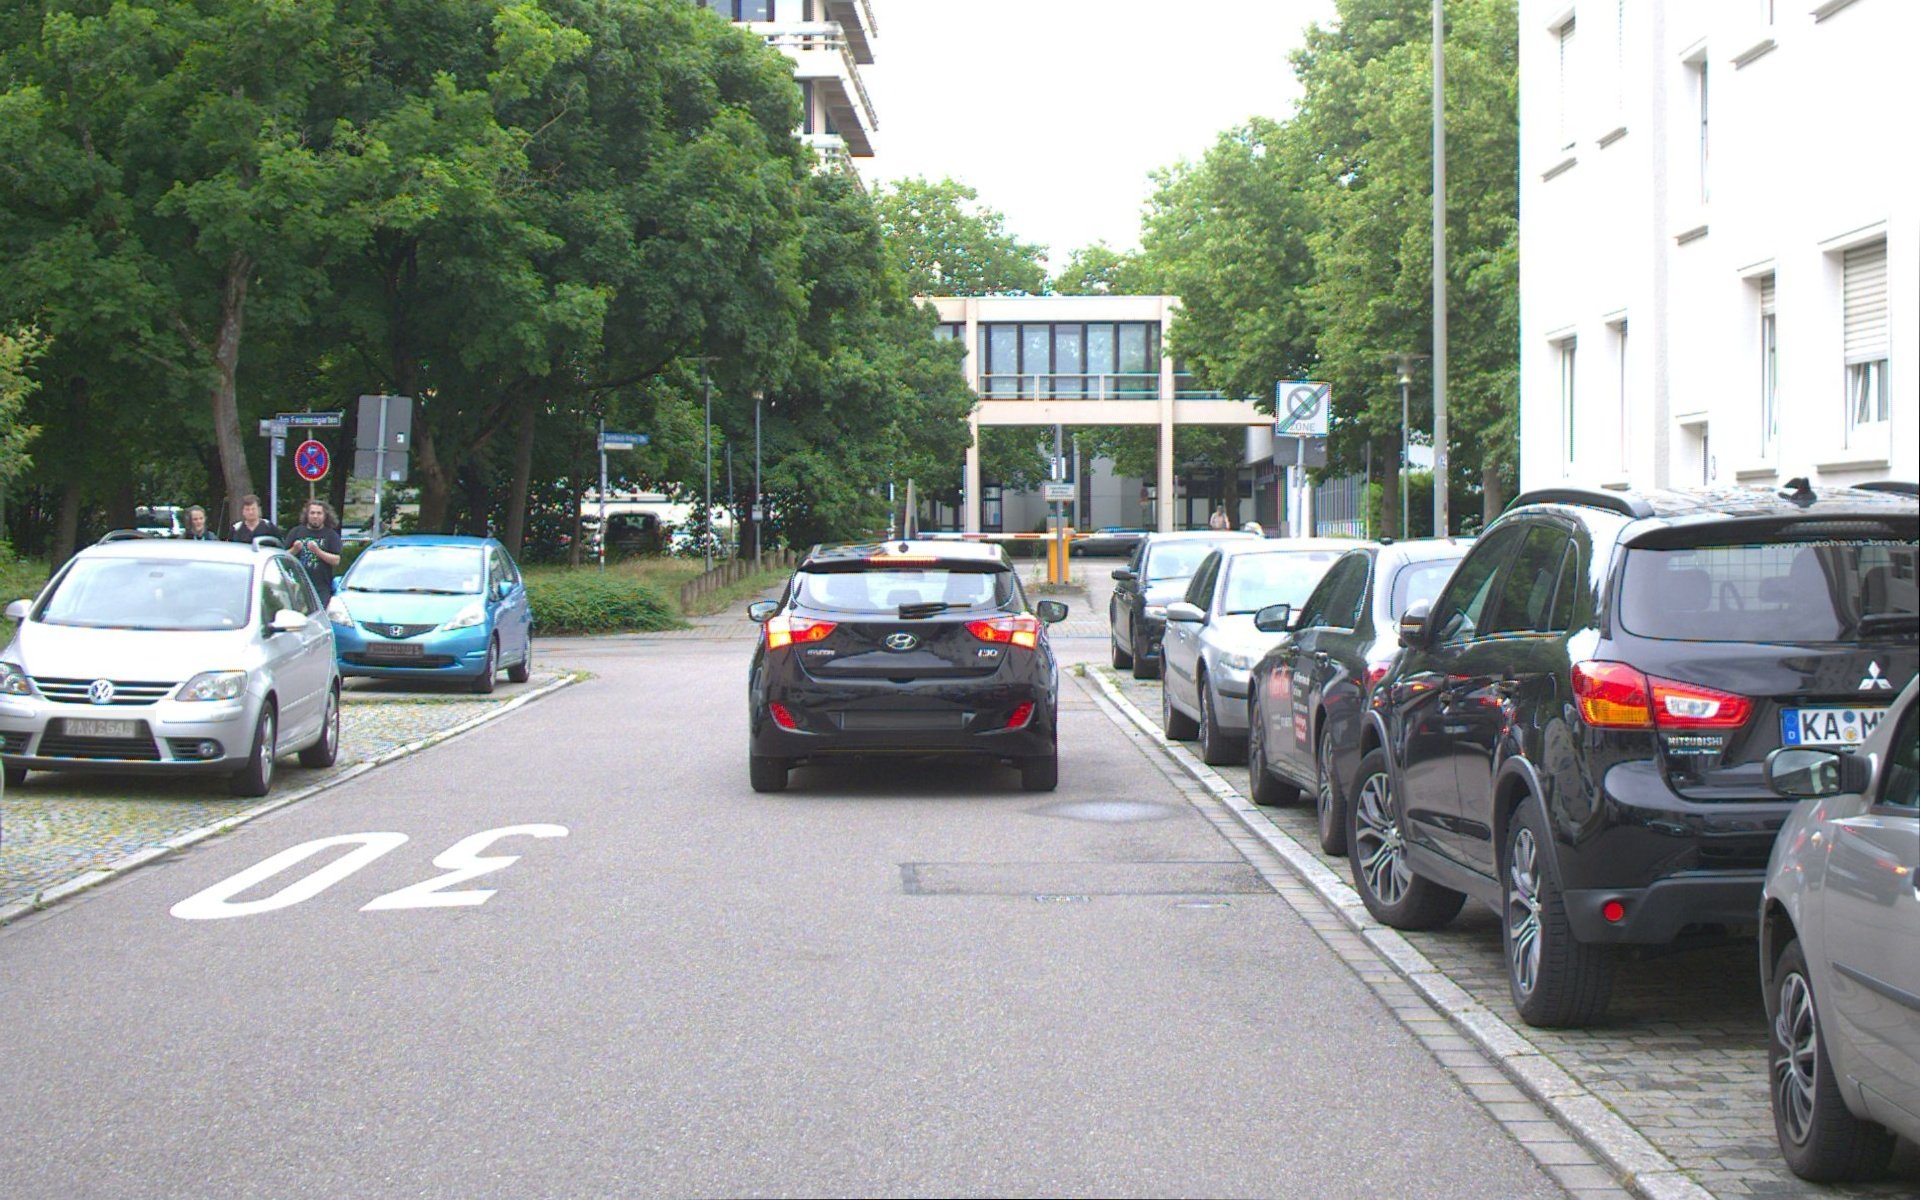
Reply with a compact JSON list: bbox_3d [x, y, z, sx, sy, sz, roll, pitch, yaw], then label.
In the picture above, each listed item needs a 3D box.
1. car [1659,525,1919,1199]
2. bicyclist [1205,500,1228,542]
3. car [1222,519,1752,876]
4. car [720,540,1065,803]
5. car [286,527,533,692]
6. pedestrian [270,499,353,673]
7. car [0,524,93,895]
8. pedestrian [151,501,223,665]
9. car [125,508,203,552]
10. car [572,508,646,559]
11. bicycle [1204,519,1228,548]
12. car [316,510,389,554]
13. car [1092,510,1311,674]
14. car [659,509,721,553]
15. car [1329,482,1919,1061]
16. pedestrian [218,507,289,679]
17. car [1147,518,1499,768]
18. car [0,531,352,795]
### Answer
[{"bbox_3d":[2.703,0.604,6.813,1.820,1.498,4.091,-1,1,0],"label":"car"},{"bbox_3d":[8.734,-2.697,117.078,0.693,1.439,0.795,0,1,1],"label":"bicyclist"},{"bbox_3d":[2.418,0.361,16.959,1.820,1.514,4.674,0,1,-1],"label":"car"},{"bbox_3d":[-0.363,0.360,21.172,1.903,1.428,4.233,0,1,0],"label":"car"},{"bbox_3d":[-5.462,0.047,34.569,1.993,1.535,4.001,1,1,-3],"label":"car"},{"bbox_3d":[-6.898,-0.157,36.590,0.714,1.825,0.797,0,1,1],"label":"pedestrian"},{"bbox_3d":[-5.071,0.461,14.051,1.895,1.593,4.521,2,1,0],"label":"car"},{"bbox_3d":[-8.125,-0.181,36.150,0.600,1.707,0.648,0,1,2],"label":"pedestrian"},{"bbox_3d":[-24.719,-2.177,106.809,1.665,1.328,3.396,0,2,0],"label":"car"},{"bbox_3d":[-9.470,-1.807,92.880,1.665,1.328,3.396,0,2,0],"label":"car"},{"bbox_3d":[8.722,-2.263,117.056,0.693,0.993,1.735,0,2,1],"label":"bicycle"},{"bbox_3d":[-18.790,-2.132,106.457,1.665,1.328,3.396,0,2,0],"label":"car"},{"bbox_3d":[2.395,-0.137,35.114,1.820,1.514,4.674,-1,2,-1],"label":"car"},{"bbox_3d":[-8.335,-2.159,106.312,1.665,1.328,3.396,0,2,0],"label":"car"},{"bbox_3d":[2.356,0.428,11.532,1.820,1.597,4.091,0,1,0],"label":"car"},{"bbox_3d":[-7.561,-0.080,36.823,0.605,1.825,0.675,0,1,1],"label":"pedestrian"},{"bbox_3d":[2.332,0.208,23.214,1.820,1.514,4.674,0,1,-1],"label":"car"},{"bbox_3d":[-5.261,0.334,22.359,1.993,1.535,4.001,1,1,-2],"label":"car"}]
